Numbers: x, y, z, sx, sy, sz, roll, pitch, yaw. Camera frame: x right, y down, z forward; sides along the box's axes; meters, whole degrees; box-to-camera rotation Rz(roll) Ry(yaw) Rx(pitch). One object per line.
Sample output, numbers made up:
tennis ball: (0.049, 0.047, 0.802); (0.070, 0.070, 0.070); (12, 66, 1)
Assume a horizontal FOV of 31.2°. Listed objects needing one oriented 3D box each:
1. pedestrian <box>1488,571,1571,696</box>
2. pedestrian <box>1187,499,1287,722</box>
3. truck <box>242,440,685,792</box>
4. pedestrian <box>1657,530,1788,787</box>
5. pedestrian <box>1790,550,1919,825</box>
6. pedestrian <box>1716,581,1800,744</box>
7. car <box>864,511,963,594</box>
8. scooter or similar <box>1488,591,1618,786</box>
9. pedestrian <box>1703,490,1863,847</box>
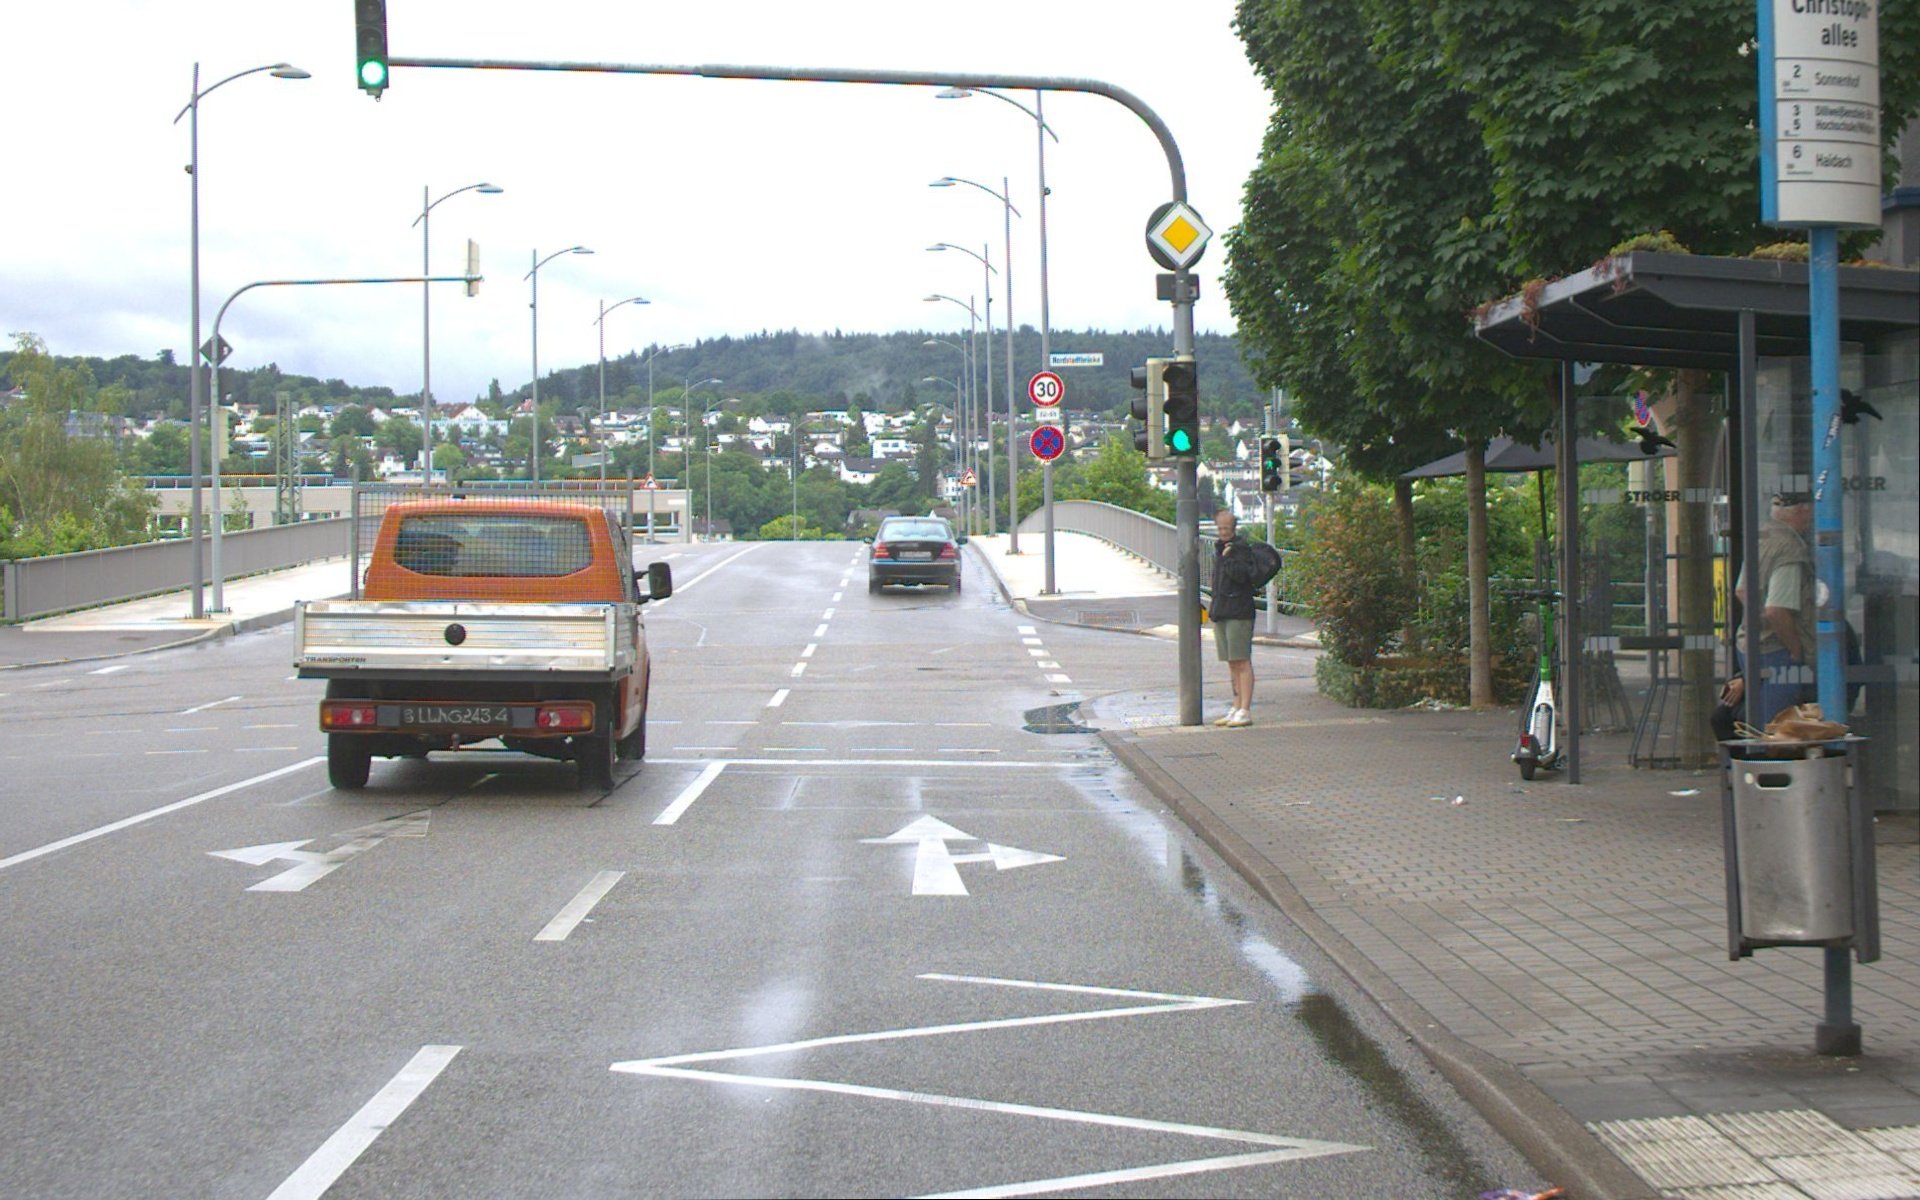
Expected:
pedestrian: (5.499, 0.318, 33.203); (0.664, 1.185, 0.557); (-1, 0, -2)
pedestrian: (2.321, 0.086, 28.870); (0.733, 1.835, 0.631); (-1, 0, -2)
truck: (-3.268, 0.092, 23.839); (2.399, 2.122, 5.315); (-1, 0, -1)
pedestrian: (4.083, 0.307, 18.438); (0.534, 1.345, 0.596); (-1, 0, -2)
pedestrian: (4.663, 0.443, 17.797); (0.563, 1.392, 0.514); (-1, 0, -3)
pedestrian: (7.831, 0.606, 33.754); (0.644, 1.566, 0.725); (-1, 0, 2)
car: (-0.859, -0.866, 64.017); (1.754, 1.474, 4.000); (-1, 0, -1)
scooter or similar: (3.692, 0.532, 21.480); (0.511, 1.168, 1.549); (-1, 0, -1)
pedestrian: (3.997, 0.327, 16.723); (0.619, 1.693, 0.656); (-1, 0, 3)
